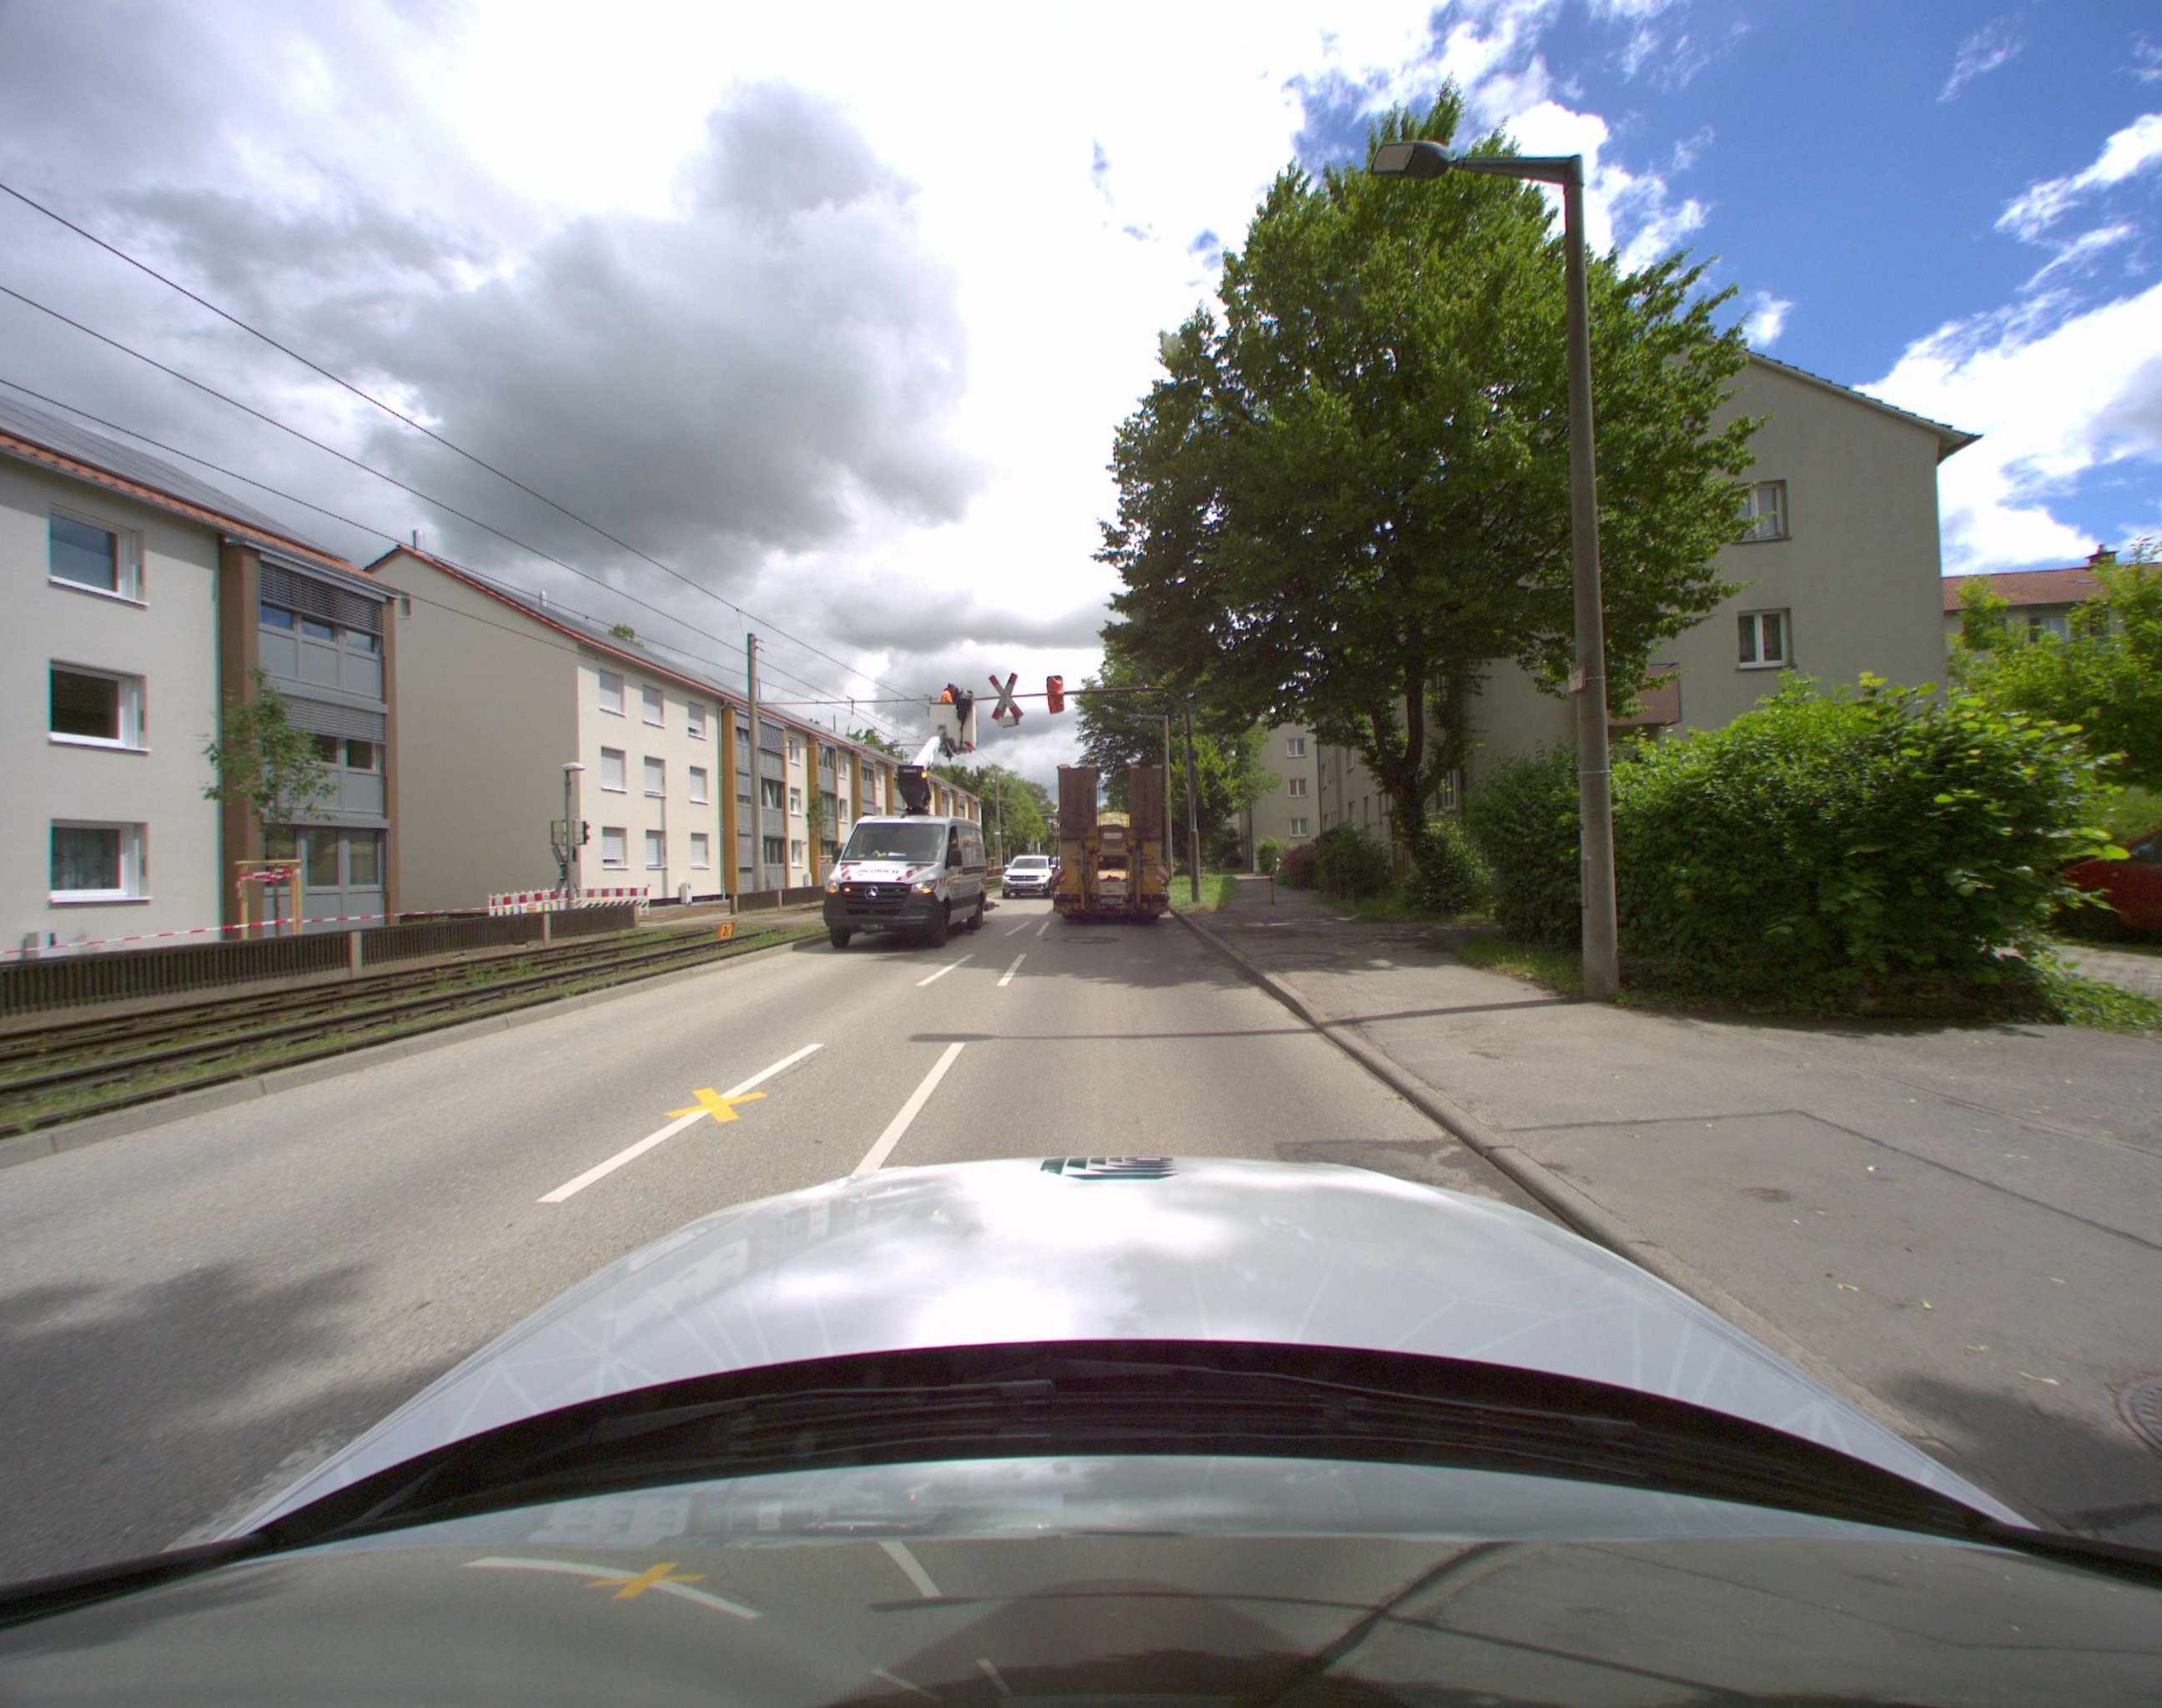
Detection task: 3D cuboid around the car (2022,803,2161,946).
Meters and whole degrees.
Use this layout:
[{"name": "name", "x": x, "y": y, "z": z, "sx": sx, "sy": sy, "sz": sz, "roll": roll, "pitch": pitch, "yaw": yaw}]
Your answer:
[{"name": "car", "x": 11.904, "y": 0.181, "z": 7.970, "sx": 1.651, "sy": 1.480, "sz": 3.706, "roll": -2, "pitch": 0, "yaw": 13}]

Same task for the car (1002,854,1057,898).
[{"name": "car", "x": -1.894, "y": 0.807, "z": 30.882, "sx": 1.711, "sy": 1.552, "sz": 3.919, "roll": 0, "pitch": 0, "yaw": 2}]

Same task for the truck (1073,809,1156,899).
[{"name": "truck", "x": 1.342, "y": 0.014, "z": 32.421, "sx": 2.906, "sy": 3.167, "sz": 7.685, "roll": 0, "pitch": 0, "yaw": 2}]

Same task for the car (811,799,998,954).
[{"name": "car", "x": -3.119, "y": 0.359, "z": 16.039, "sx": 1.985, "sy": 2.430, "sz": 6.326, "roll": -1, "pitch": 0, "yaw": 3}]

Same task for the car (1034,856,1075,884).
[{"name": "car", "x": -1.432, "y": 0.838, "z": 45.408, "sx": 1.871, "sy": 1.481, "sz": 4.532, "roll": 0, "pitch": 0, "yaw": 3}]

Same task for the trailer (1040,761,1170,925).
[{"name": "trailer", "x": 0.829, "y": -0.212, "z": 23.096, "sx": 2.811, "sy": 3.524, "sz": 11.061, "roll": 0, "pitch": 0, "yaw": 3}]
